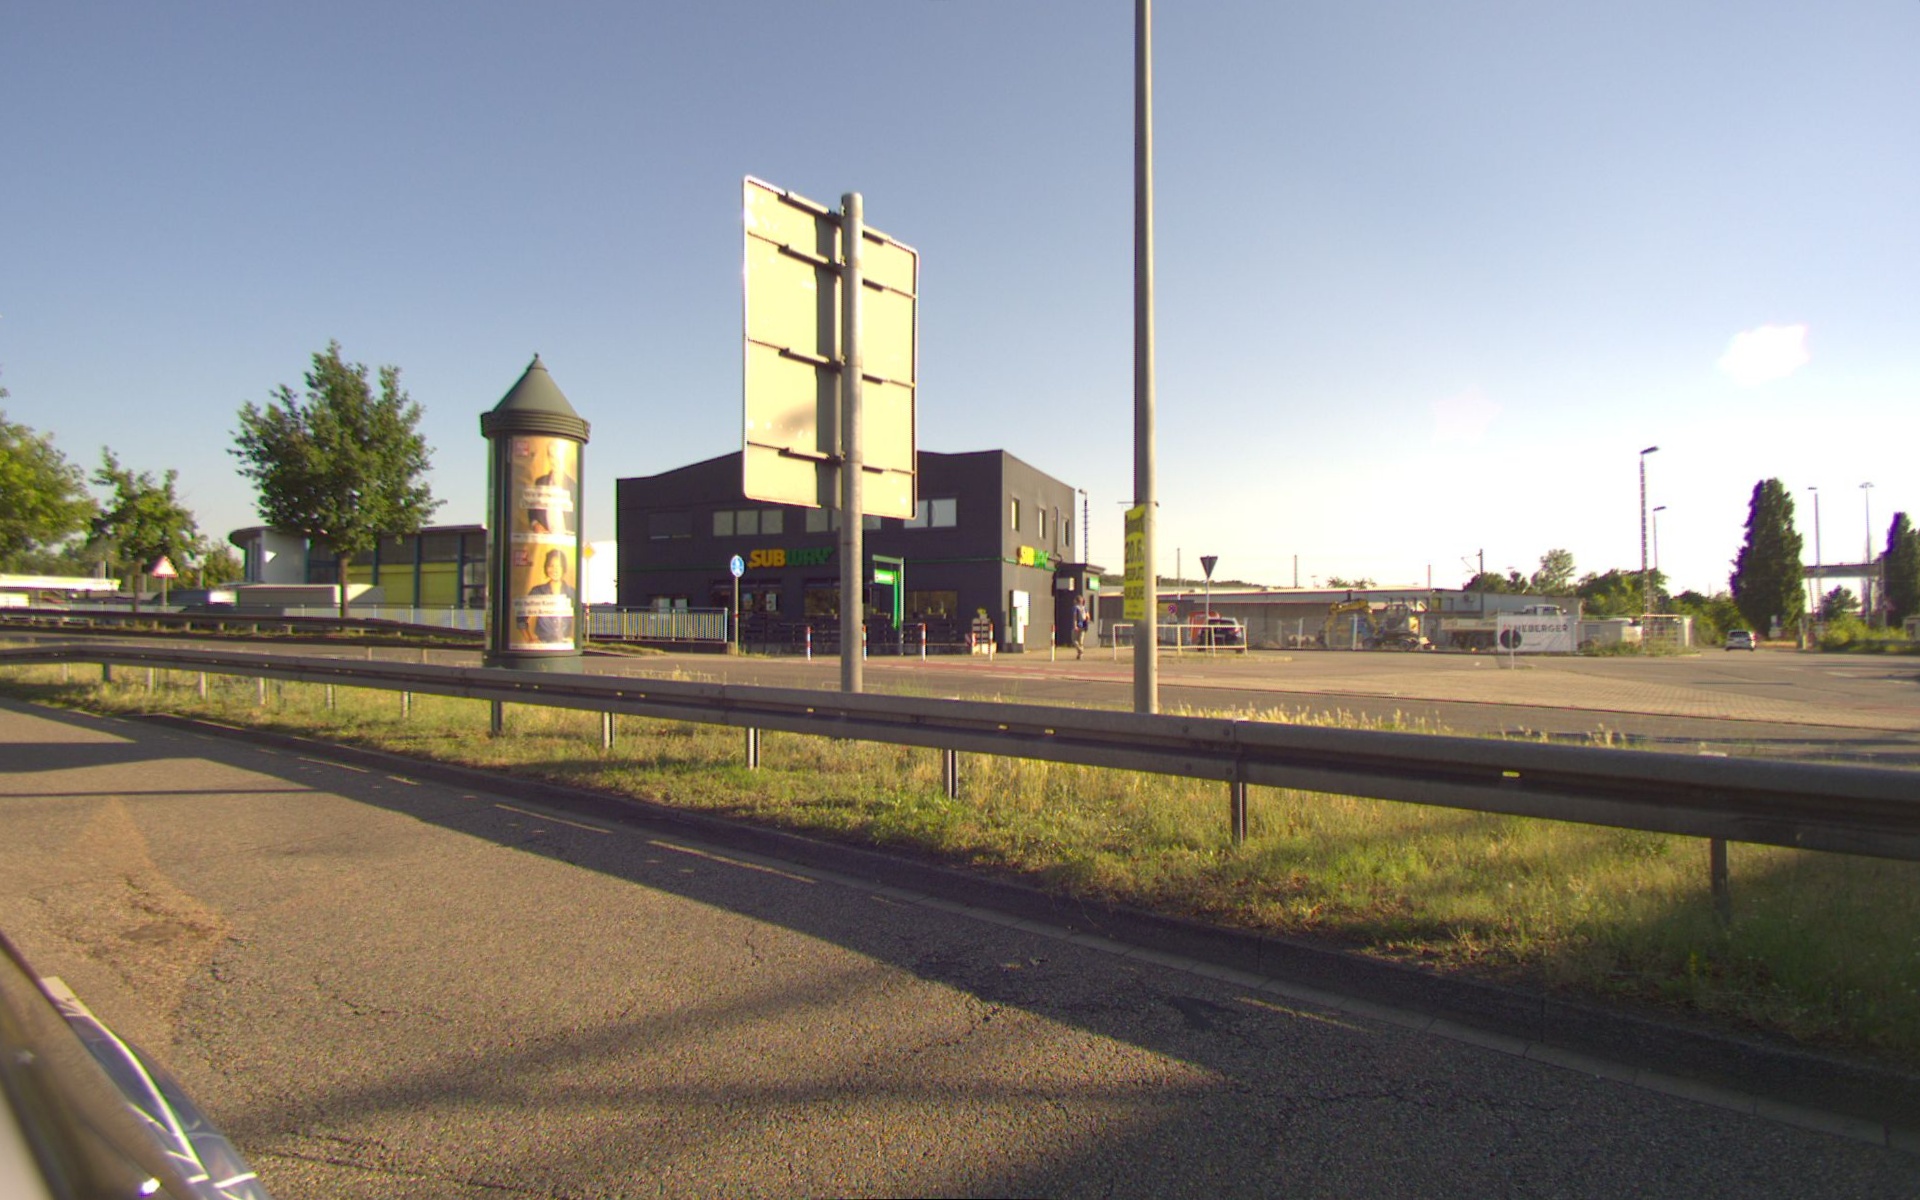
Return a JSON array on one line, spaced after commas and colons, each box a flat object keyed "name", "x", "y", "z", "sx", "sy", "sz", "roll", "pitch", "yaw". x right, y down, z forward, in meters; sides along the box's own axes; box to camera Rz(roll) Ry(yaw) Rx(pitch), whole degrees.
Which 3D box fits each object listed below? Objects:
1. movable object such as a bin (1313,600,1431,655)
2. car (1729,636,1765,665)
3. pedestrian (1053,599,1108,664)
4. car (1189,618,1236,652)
[{"name": "movable object such as a bin", "x": 25.338, "y": 1.651, "z": 62.381, "sx": 6.587, "sy": 3.241, "sz": 2.428, "roll": -1, "pitch": 0, "yaw": 23}, {"name": "car", "x": 61.603, "y": 3.942, "z": 79.260, "sx": 1.996, "sy": 2.029, "sz": 3.952, "roll": -1, "pitch": 0, "yaw": 35}, {"name": "pedestrian", "x": 3.569, "y": 0.906, "z": 29.953, "sx": 1.085, "sy": 1.849, "sz": 1.258, "roll": -1, "pitch": 0, "yaw": 42}, {"name": "car", "x": 15.998, "y": 2.190, "z": 64.083, "sx": 1.991, "sy": 2.029, "sz": 3.962, "roll": -1, "pitch": 0, "yaw": 28}]
